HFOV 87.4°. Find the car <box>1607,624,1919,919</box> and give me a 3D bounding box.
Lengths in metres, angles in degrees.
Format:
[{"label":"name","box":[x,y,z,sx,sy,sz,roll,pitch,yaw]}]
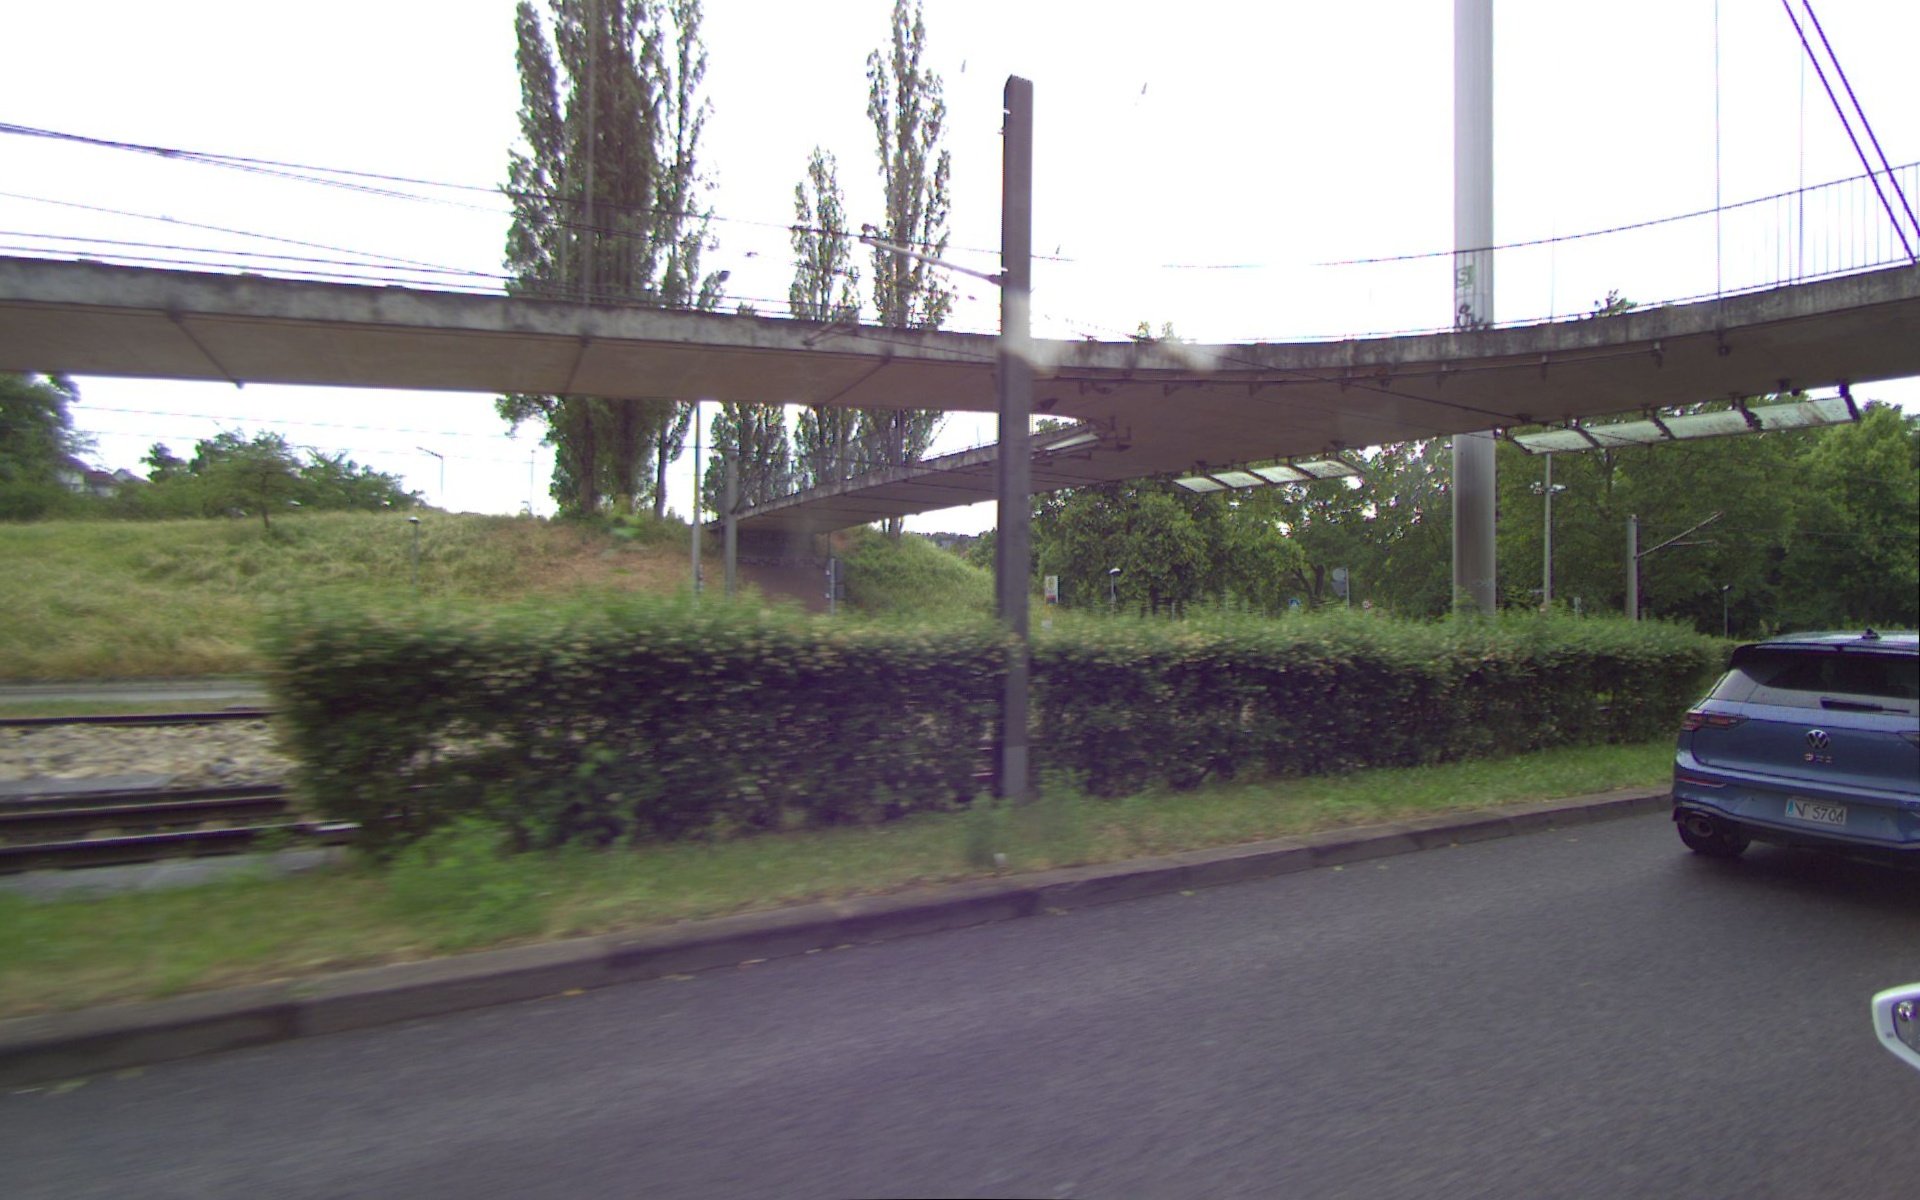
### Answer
[{"label":"car","box":[6.268,0.908,6.440,4.296,1.397,1.799,2,0,-30]}]
